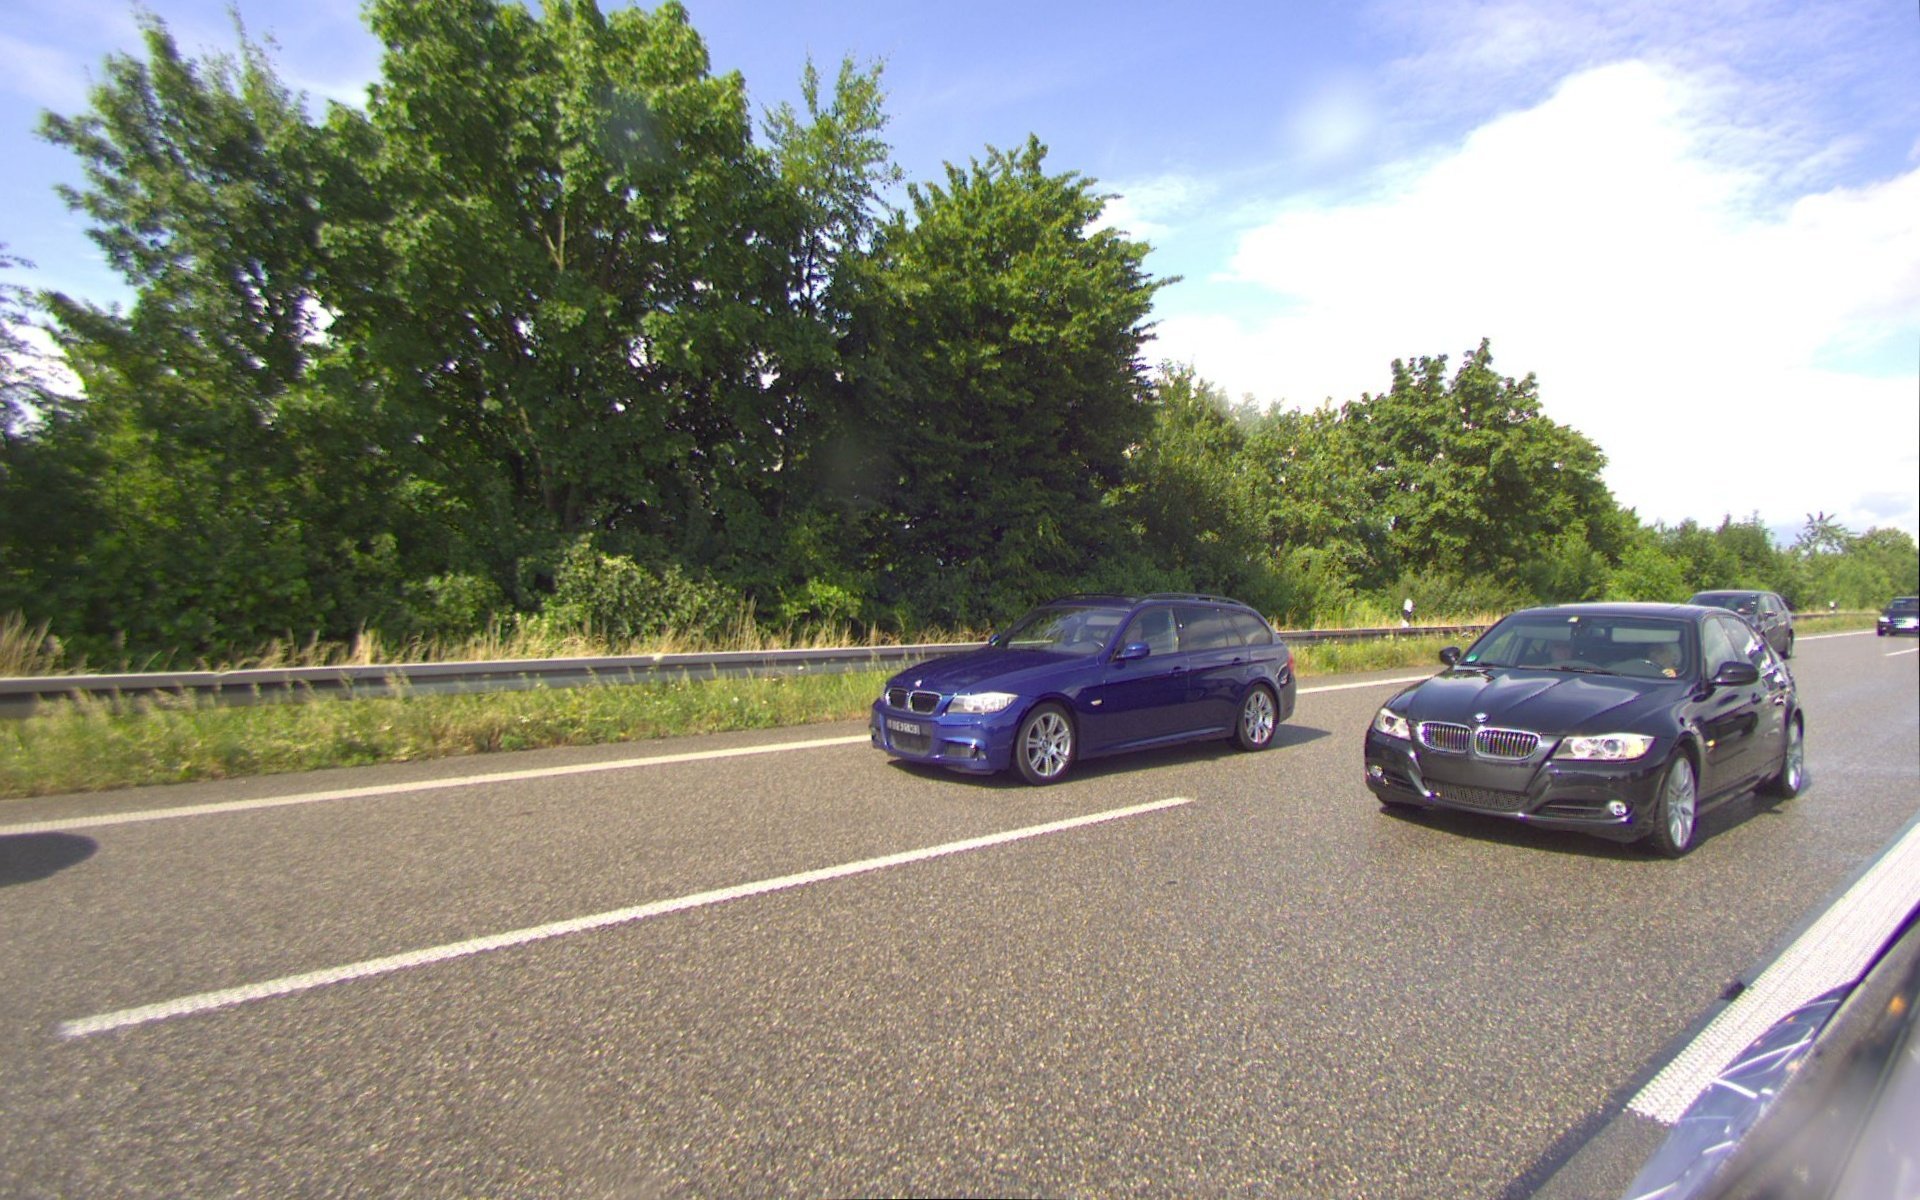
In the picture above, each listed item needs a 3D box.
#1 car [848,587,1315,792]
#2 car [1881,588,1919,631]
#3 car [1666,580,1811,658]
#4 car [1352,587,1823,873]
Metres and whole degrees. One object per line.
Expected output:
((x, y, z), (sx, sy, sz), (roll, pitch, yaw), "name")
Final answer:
((1.243, 0.602, 9.085), (4.213, 1.419, 1.774), (0, 1, -40), "car")
((38.063, 0.354, 40.102), (3.930, 1.588, 1.852), (-1, 2, -41), "car")
((18.067, 0.378, 23.430), (4.307, 1.633, 1.792), (0, 1, -40), "car")
((4.494, 0.643, 7.039), (3.768, 1.438, 1.743), (0, 1, -41), "car")
